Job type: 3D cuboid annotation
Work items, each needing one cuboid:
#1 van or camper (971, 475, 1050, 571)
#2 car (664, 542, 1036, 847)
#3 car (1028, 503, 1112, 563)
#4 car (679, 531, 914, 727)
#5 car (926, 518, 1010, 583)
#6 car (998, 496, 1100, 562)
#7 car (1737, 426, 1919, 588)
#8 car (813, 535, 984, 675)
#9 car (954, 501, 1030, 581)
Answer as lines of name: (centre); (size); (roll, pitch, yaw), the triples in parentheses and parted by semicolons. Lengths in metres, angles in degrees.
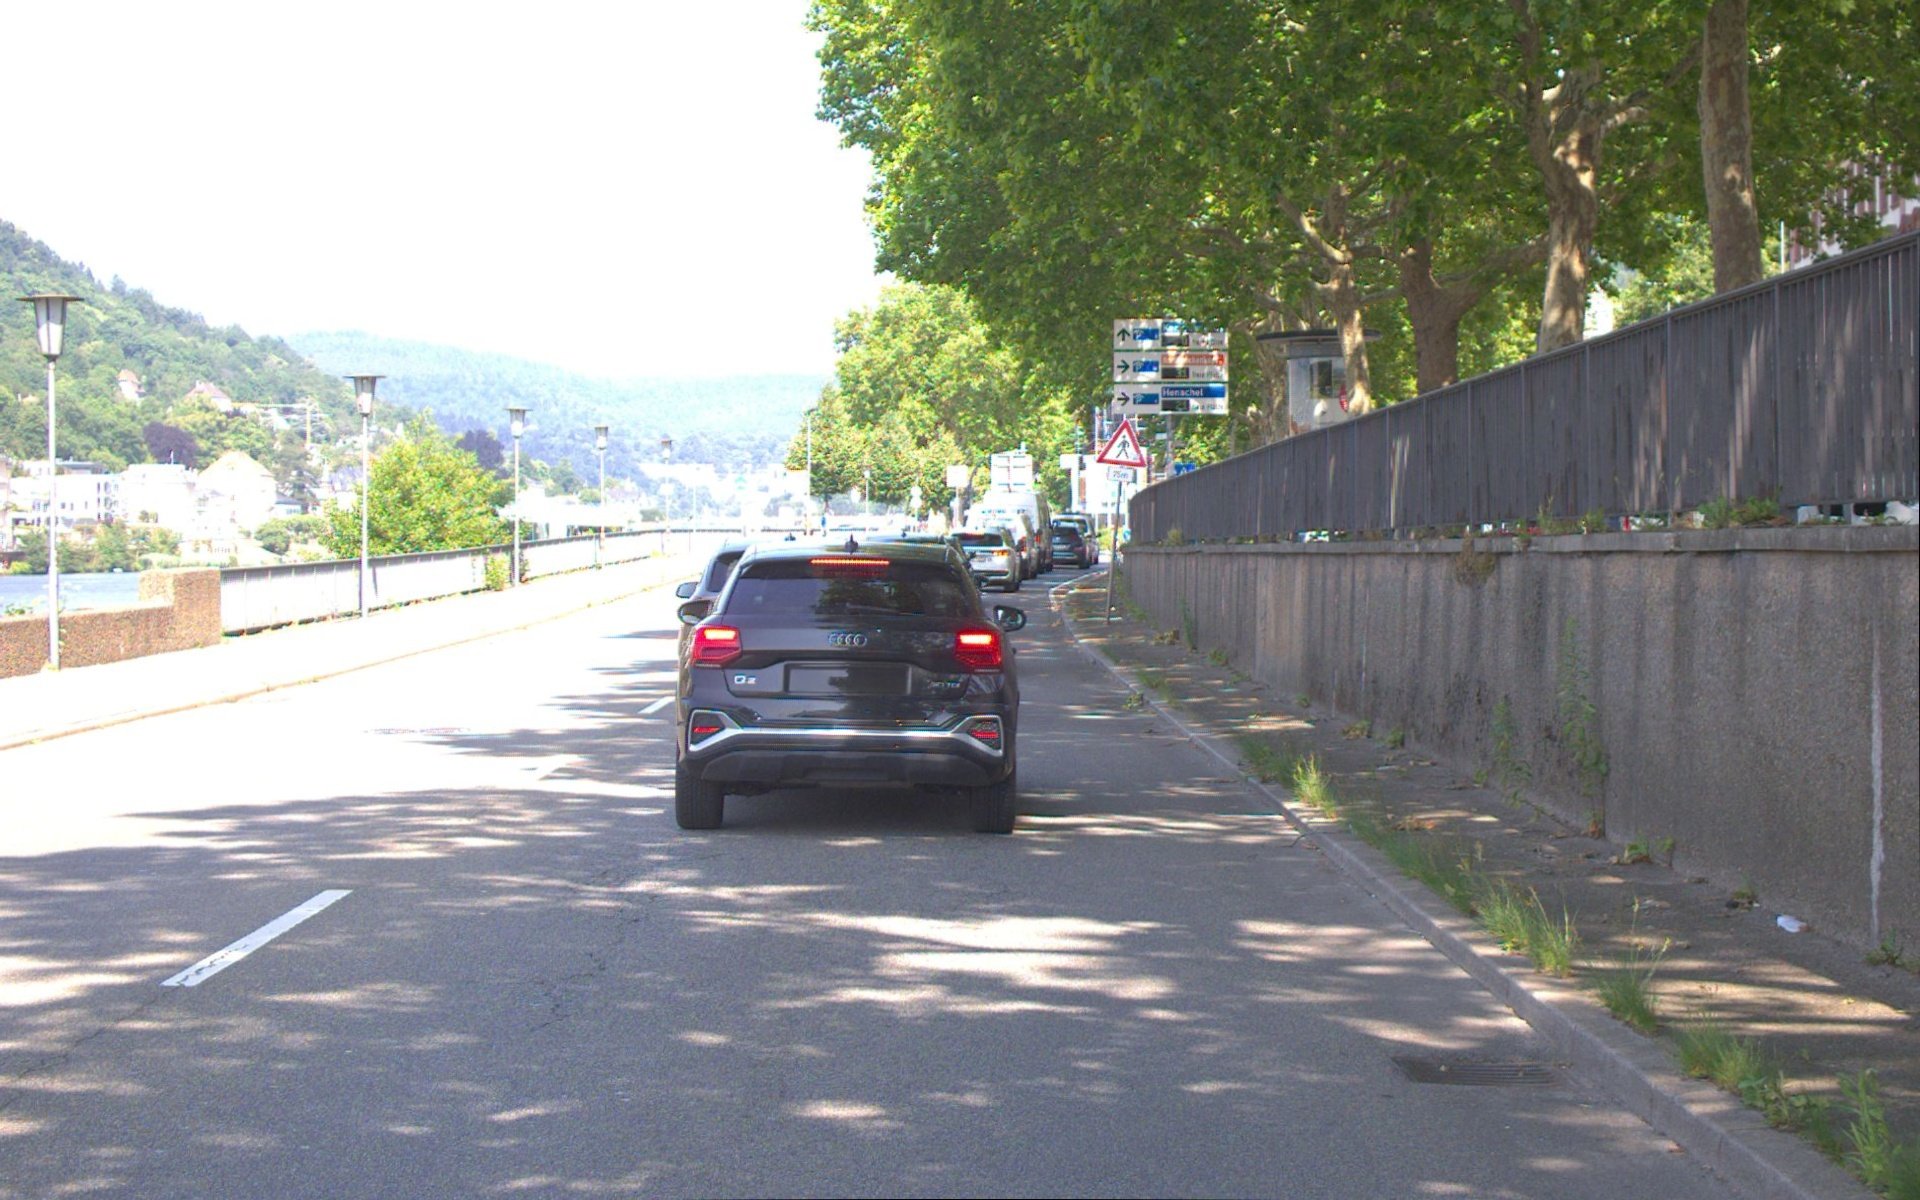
van or camper: (1.570, -2.358, 105.957); (2.310, 2.837, 4.246); (-1, 1, 1)
car: (-0.582, 0.437, 19.098); (1.828, 1.481, 4.000); (1, 1, -1)
car: (3.950, -2.442, 124.861); (2.661, 2.007, 5.825); (-3, 1, -1)
car: (-1.320, 0.189, 28.974); (1.828, 1.506, 4.000); (1, 1, -1)
car: (0.158, -1.151, 79.289); (1.828, 1.439, 4.000); (1, 1, -1)
car: (2.950, -2.393, 115.416); (3.098, 2.007, 5.825); (-3, 1, -1)
car: (8.953, -0.885, 33.286); (1.777, 1.464, 3.994); (1, 1, 28)
car: (-0.702, 0.018, 39.075); (1.828, 1.481, 4.000); (1, 1, -1)
car: (0.869, -1.660, 97.036); (1.993, 2.162, 4.000); (-1, 1, -1)
